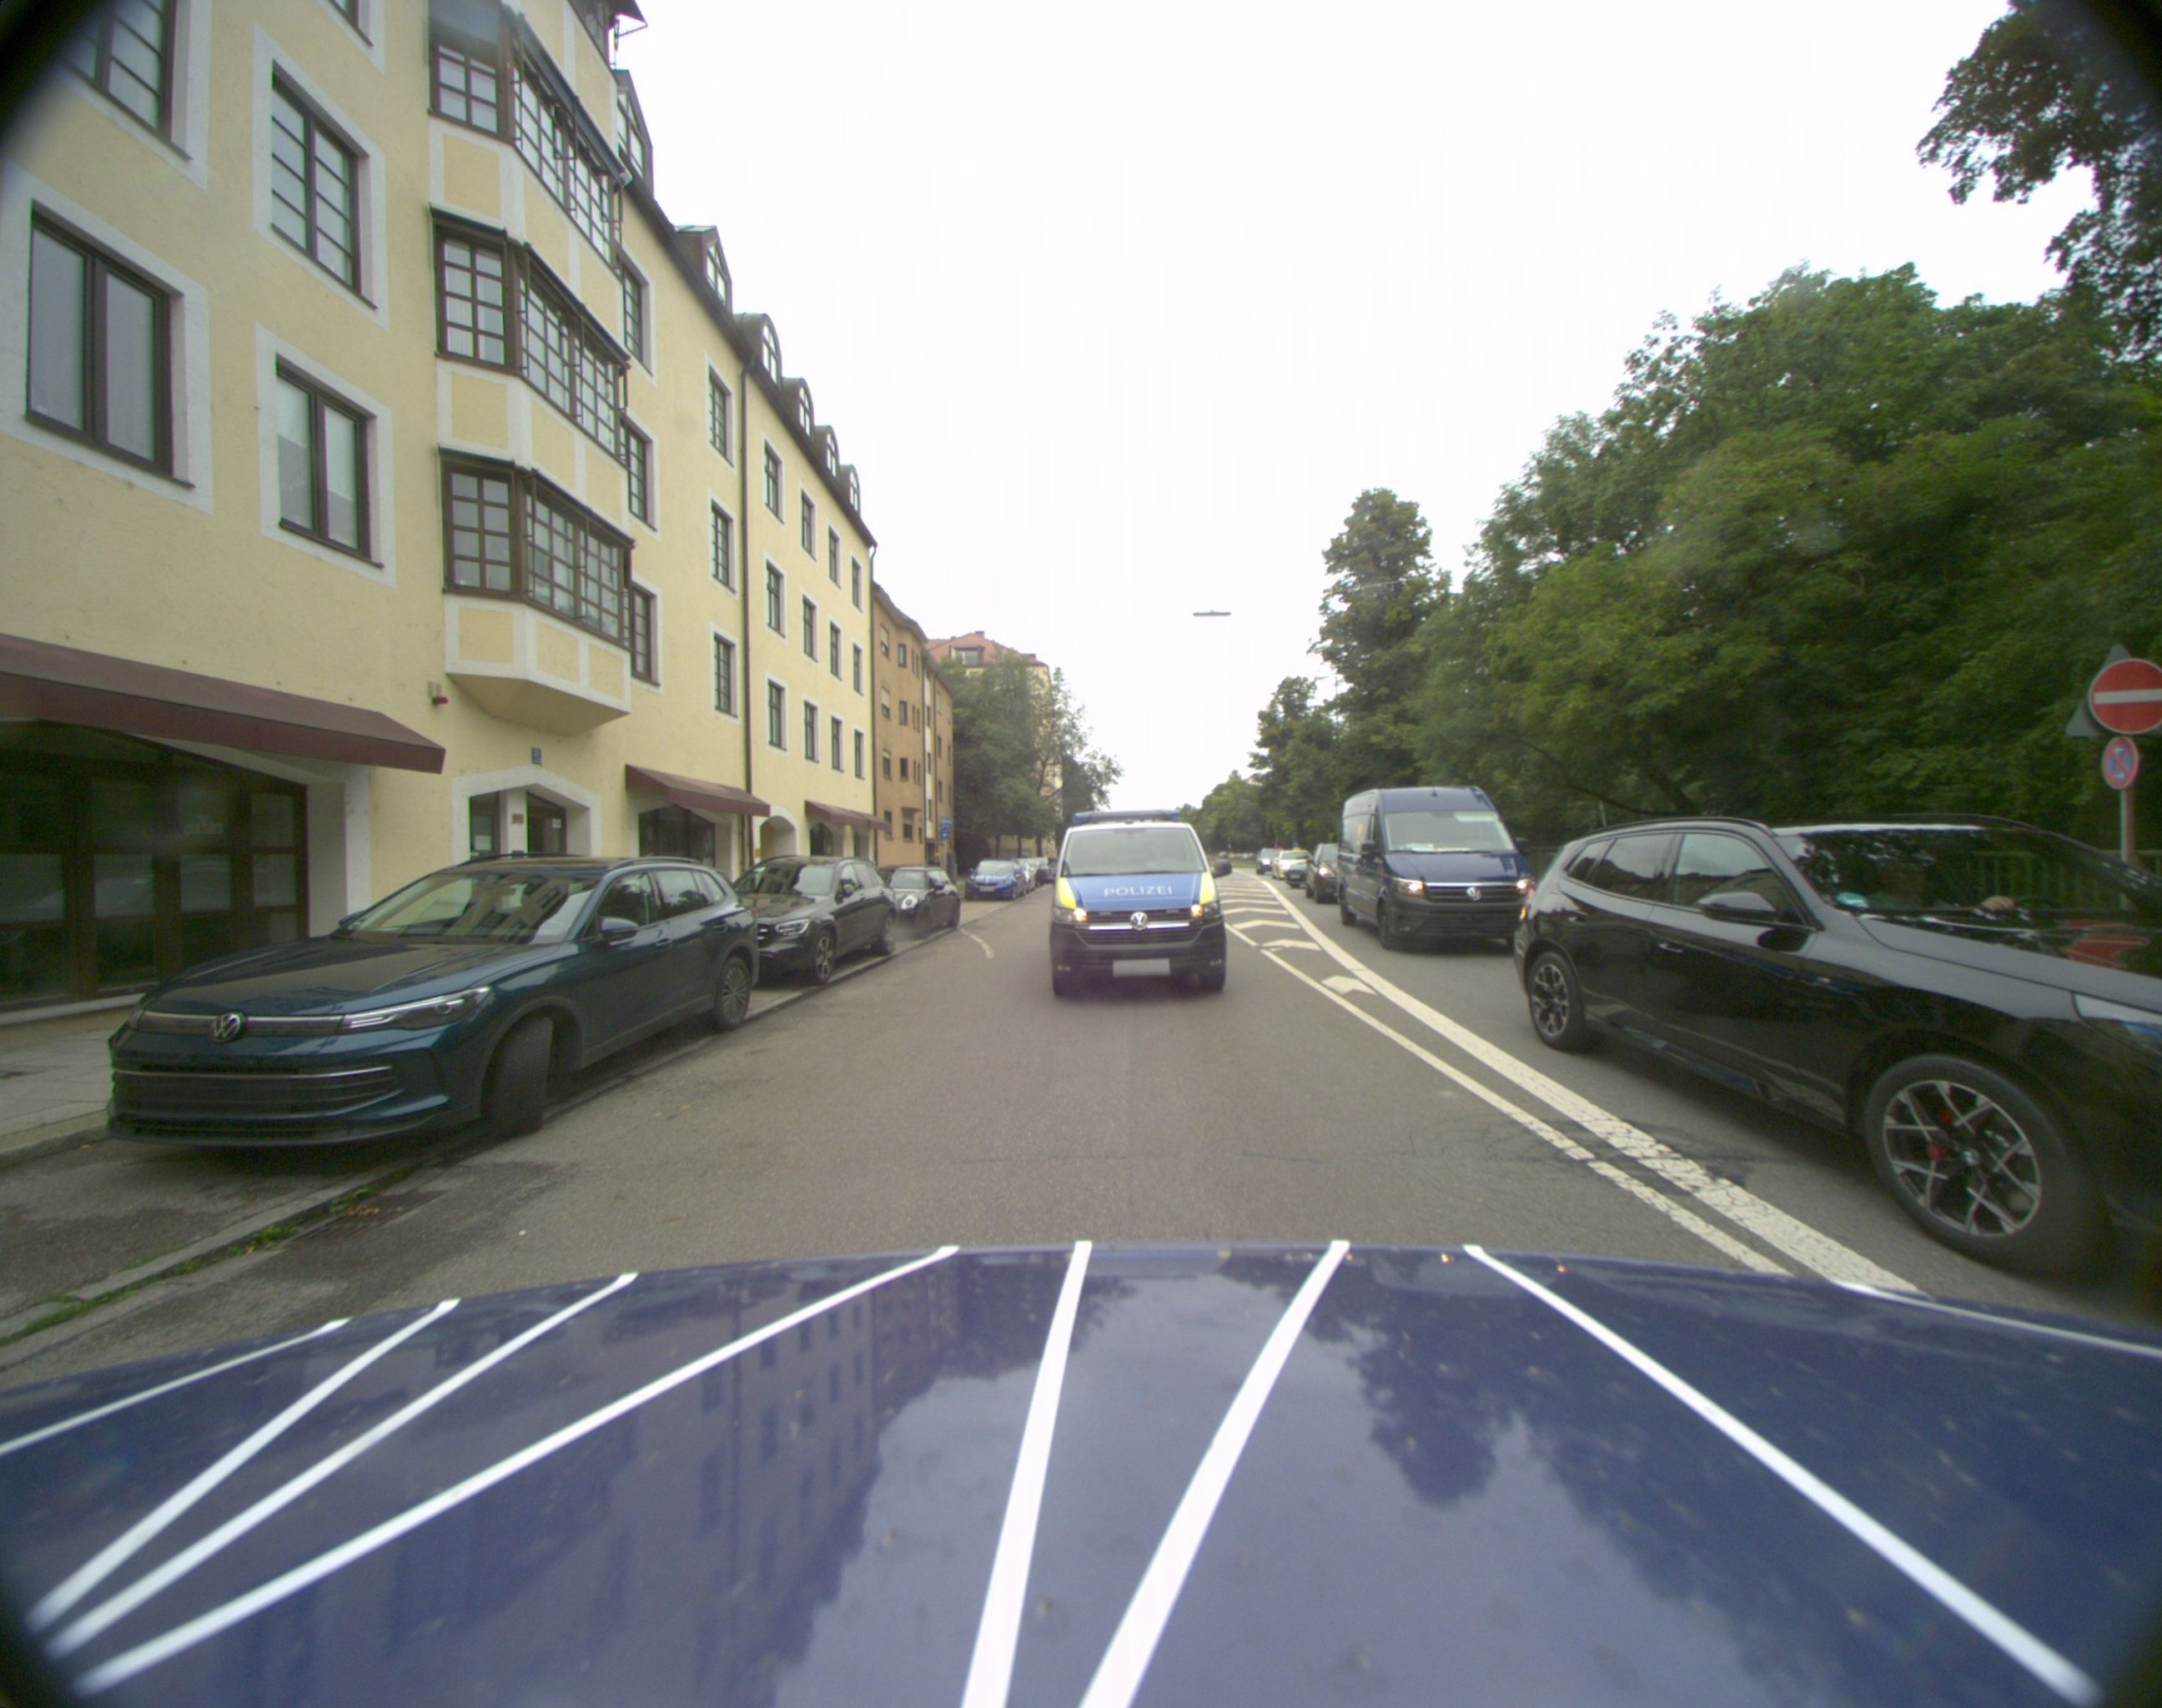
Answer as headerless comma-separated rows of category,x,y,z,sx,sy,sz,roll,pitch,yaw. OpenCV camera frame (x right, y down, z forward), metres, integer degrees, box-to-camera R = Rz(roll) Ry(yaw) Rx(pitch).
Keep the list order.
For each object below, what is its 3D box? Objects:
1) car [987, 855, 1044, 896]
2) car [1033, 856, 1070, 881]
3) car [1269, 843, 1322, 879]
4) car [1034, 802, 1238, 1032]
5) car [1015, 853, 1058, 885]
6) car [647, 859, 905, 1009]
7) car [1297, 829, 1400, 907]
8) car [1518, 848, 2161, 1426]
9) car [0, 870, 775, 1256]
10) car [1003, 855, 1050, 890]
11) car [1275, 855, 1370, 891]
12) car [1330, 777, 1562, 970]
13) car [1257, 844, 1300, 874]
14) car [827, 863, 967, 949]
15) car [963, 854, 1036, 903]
car,-2.858,0.922,34.171,1.883,1.642,4.617,-2,0,3
car,-1.861,0.904,49.162,1.883,1.474,4.300,-2,0,4
car,10.594,0.327,37.870,2.102,1.581,5.572,-2,0,11
car,0.564,0.598,9.959,1.826,2.086,5.633,-2,0,1
car,-2.486,0.814,43.777,1.883,1.642,4.300,-2,0,4
car,-4.041,0.944,10.928,1.817,1.580,4.164,3,1,2
car,7.658,0.358,22.317,2.005,1.925,5.810,-2,0,11
car,4.125,0.764,3.705,1.920,1.556,4.296,0,1,7
car,-4.241,0.995,5.683,2.112,1.613,4.496,-1,0,-1
car,-2.738,0.899,39.042,1.883,1.642,4.585,-2,0,2
car,9.214,0.677,28.964,3.617,1.207,1.493,-2,1,-33
car,5.740,0.212,12.967,2.004,2.477,6.237,-1,1,11
car,12.395,0.273,48.040,2.314,1.719,5.219,-2,0,11
car,-3.710,0.982,16.045,1.764,1.514,3.933,1,0,4
car,-2.972,0.842,28.919,1.883,1.642,5.618,0,0,3
